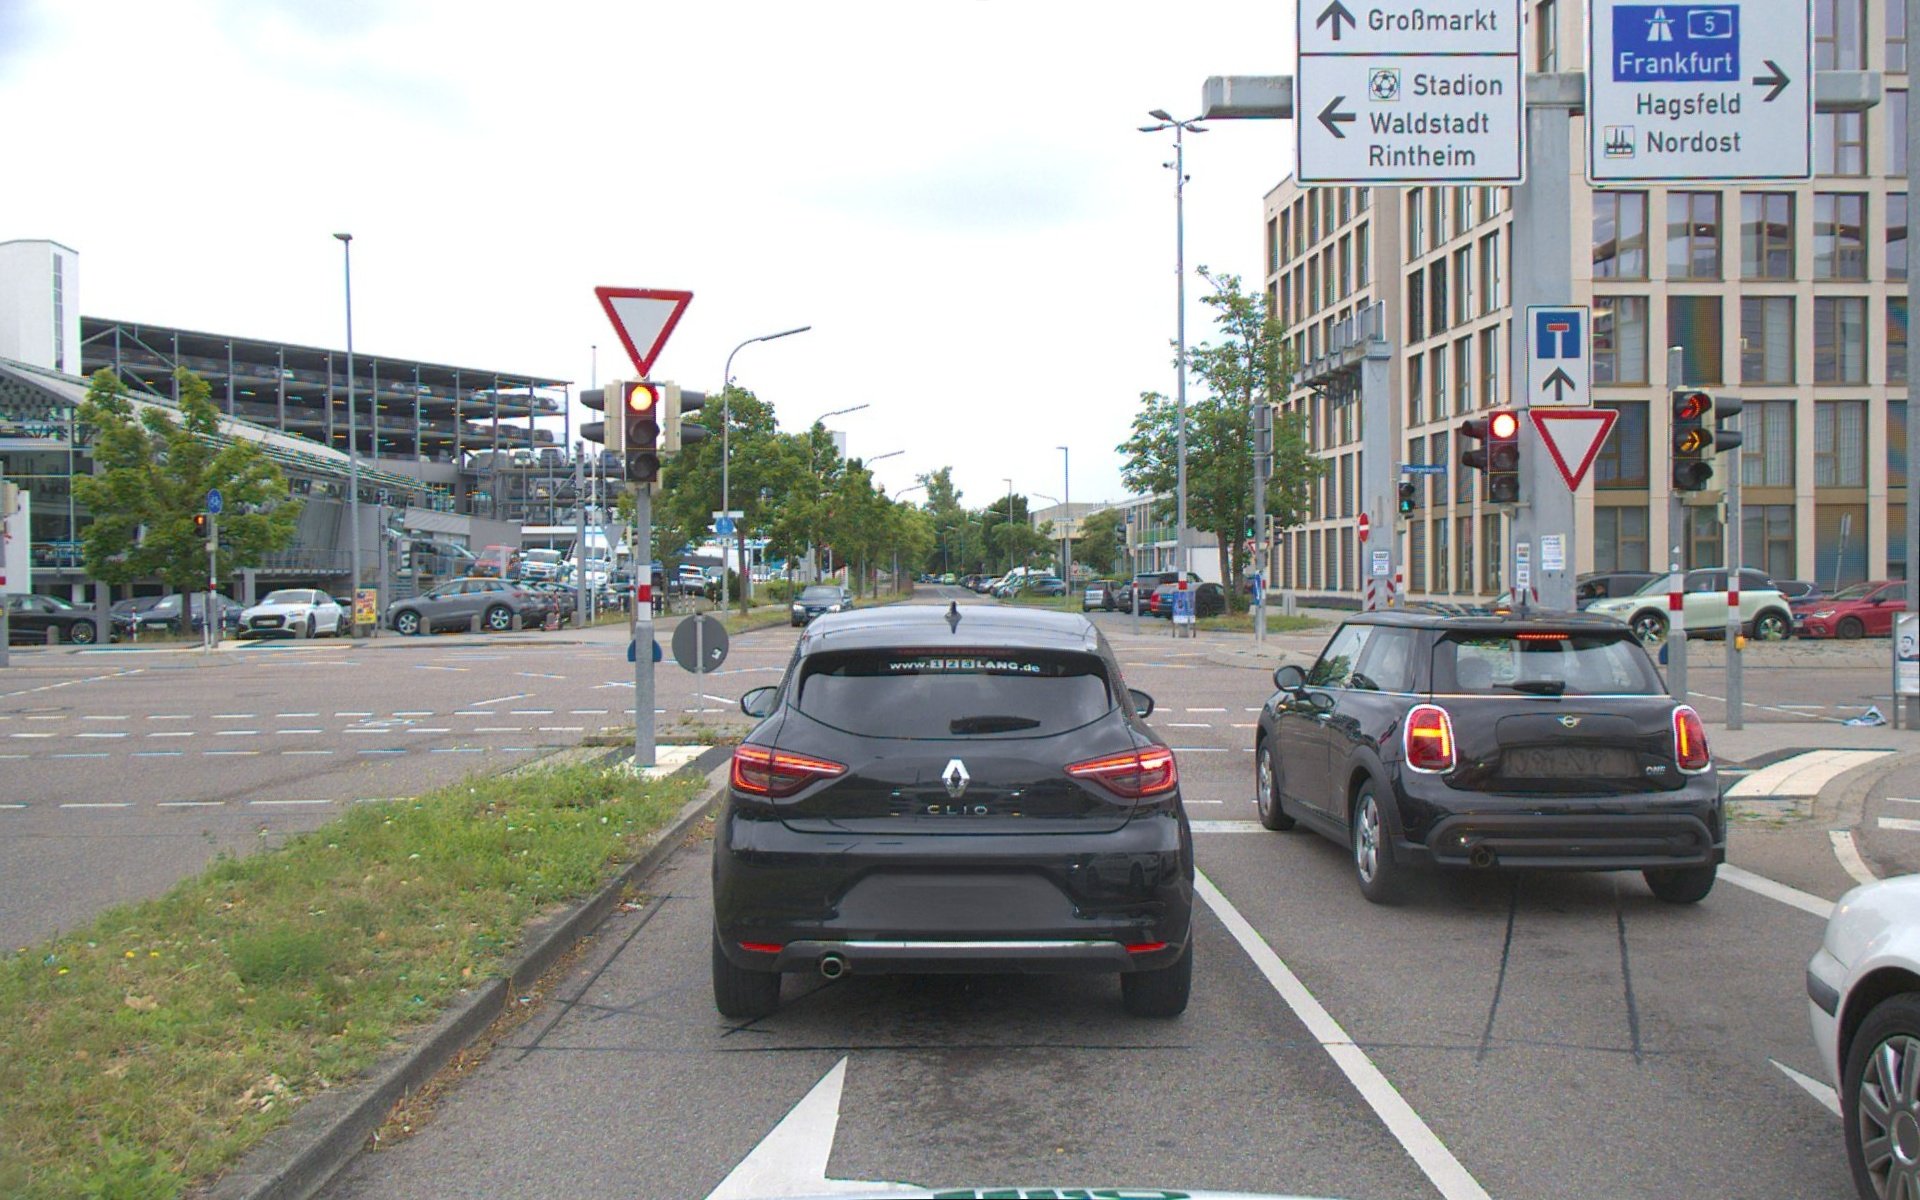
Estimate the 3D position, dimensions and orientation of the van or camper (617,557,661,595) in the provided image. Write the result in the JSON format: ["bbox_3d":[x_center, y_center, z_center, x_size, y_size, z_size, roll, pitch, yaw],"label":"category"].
[{"bbox_3d":[-18.280,-1.348,94.404,1.954,2.049,3.996,1,0,-4],"label":"van or camper"}]

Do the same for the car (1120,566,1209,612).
[{"bbox_3d":[9.216,-0.490,74.381,1.963,2.000,4.221,-1,0,41],"label":"car"}]

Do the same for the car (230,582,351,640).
[{"bbox_3d":[-18.586,0.339,46.096,1.832,1.512,4.226,-1,-1,-4],"label":"car"}]

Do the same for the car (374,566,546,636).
[{"bbox_3d":[-15.271,0.036,50.742,4.680,1.895,1.998,-2,0,-6],"label":"car"}]

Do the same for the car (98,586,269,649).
[{"bbox_3d":[-25.792,0.554,55.078,4.706,1.973,1.999,-1,1,-4],"label":"car"}]

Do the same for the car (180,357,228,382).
[{"bbox_3d":[-66.135,-20.137,144.656,3.914,1.696,1.996,1,1,31],"label":"car"}]

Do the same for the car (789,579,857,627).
[{"bbox_3d":[-4.729,0.075,57.600,1.938,1.578,4.614,0,1,0],"label":"car"}]

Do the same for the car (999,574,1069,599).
[{"bbox_3d":[5.543,-1.003,123.821,5.070,1.750,2.142,1,0,-3],"label":"car"}]

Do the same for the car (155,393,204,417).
[{"bbox_3d":[-67.165,-16.782,142.364,3.914,1.696,1.996,1,1,31],"label":"car"}]

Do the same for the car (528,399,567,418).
[{"bbox_3d":[-45.219,-20.926,181.185,3.914,1.696,1.996,1,1,31],"label":"car"}]

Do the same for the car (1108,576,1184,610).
[{"bbox_3d":[8.784,-0.318,77.777,1.667,1.537,3.794,-1,0,42],"label":"car"}]

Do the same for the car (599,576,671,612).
[{"bbox_3d":[-19.358,-0.352,98.622,3.908,2.049,1.999,1,0,-4],"label":"car"}]

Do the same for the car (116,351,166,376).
[{"bbox_3d":[-69.289,-19.995,139.949,3.914,1.696,1.996,1,1,31],"label":"car"}]

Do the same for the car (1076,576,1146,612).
[{"bbox_3d":[7.673,-0.297,84.072,3.405,1.762,1.739,1,-1,-43],"label":"car"}]

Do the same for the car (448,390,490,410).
[{"bbox_3d":[-50.911,-20.685,171.485,3.914,1.696,1.996,1,1,31],"label":"car"}]

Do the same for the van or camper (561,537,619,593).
[{"bbox_3d":[-21.068,-1.951,94.372,2.486,3.079,4.839,1,0,-4],"label":"van or camper"}]

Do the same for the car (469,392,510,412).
[{"bbox_3d":[-49.433,-20.814,173.714,3.914,1.696,1.996,1,1,31],"label":"car"}]

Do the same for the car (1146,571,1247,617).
[{"bbox_3d":[9.571,-0.234,66.798,4.096,1.799,1.861,0,0,-41],"label":"car"}]

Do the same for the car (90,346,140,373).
[{"bbox_3d":[-70.366,-20.024,137.757,3.914,1.696,1.996,1,1,31],"label":"car"}]

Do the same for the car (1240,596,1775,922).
[{"bbox_3d":[2.778,0.724,9.270,1.749,1.440,3.642,1,0,-1],"label":"car"}]

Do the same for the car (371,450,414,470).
[{"bbox_3d":[-55.723,-13.766,162.388,3.914,1.696,1.996,1,1,31],"label":"car"}]

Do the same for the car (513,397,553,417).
[{"bbox_3d":[-46.286,-20.904,179.225,3.914,1.696,1.996,1,1,31],"label":"car"}]

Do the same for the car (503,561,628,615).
[{"bbox_3d":[-16.615,-0.499,69.789,4.798,2.049,1.998,-2,0,-6],"label":"car"}]

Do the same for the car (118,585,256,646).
[{"bbox_3d":[-21.338,0.469,45.864,2.023,1.512,4.510,-2,-2,-6],"label":"car"}]

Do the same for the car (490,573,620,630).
[{"bbox_3d":[-16.350,0.055,66.960,4.798,2.049,1.998,-2,0,-6],"label":"car"}]

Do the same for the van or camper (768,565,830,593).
[{"bbox_3d":[-14.683,-1.884,151.141,5.486,2.413,1.999,1,0,-2],"label":"van or camper"}]

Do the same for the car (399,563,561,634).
[{"bbox_3d":[-15.410,-0.035,53.309,4.610,2.049,1.998,-2,0,-5],"label":"car"}]

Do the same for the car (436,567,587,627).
[{"bbox_3d":[-15.925,-0.094,58.938,4.853,1.909,2.051,-2,0,-7],"label":"car"}]

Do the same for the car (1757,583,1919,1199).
[{"bbox_3d":[3.039,0.725,2.389,1.795,1.504,4.004,1,0,-1],"label":"car"}]

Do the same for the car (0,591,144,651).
[{"bbox_3d":[-25.315,0.597,45.615,4.646,1.512,1.891,-1,-2,-4],"label":"car"}]

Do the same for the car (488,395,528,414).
[{"bbox_3d":[-48.078,-20.778,175.844,3.914,1.696,1.996,1,1,31],"label":"car"}]

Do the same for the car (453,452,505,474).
[{"bbox_3d":[-50.637,-14.409,174.141,5.212,1.979,2.208,1,1,28],"label":"car"}]

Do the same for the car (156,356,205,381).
[{"bbox_3d":[-67.145,-19.947,142.460,3.914,1.696,1.996,1,1,31],"label":"car"}]

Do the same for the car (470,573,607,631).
[{"bbox_3d":[-16.311,0.075,64.241,4.798,2.049,1.998,-2,0,-6],"label":"car"}]

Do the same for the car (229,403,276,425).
[{"bbox_3d":[-63.544,-16.697,148.595,3.914,1.696,1.996,1,1,31],"label":"car"}]

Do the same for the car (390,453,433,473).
[{"bbox_3d":[-54.654,-13.661,164.837,3.914,1.696,1.996,1,1,31],"label":"car"}]

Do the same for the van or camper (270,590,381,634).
[{"bbox_3d":[-26.394,0.480,68.858,3.909,1.741,1.845,1,0,-5],"label":"van or camper"}]

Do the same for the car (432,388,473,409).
[{"bbox_3d":[-52.026,-20.630,169.491,3.914,1.696,1.996,1,1,31],"label":"car"}]

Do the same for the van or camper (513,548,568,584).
[{"bbox_3d":[-21.021,-1.696,83.012,1.954,1.680,3.996,1,0,-4],"label":"van or camper"}]

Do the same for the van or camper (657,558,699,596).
[{"bbox_3d":[-16.127,-1.310,94.628,1.954,2.049,3.996,1,0,-4],"label":"van or camper"}]

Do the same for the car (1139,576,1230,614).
[{"bbox_3d":[9.673,-0.205,71.187,1.857,1.578,4.105,-1,0,44],"label":"car"}]

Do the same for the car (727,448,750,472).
[{"bbox_3d":[-21.179,-13.369,158.561,1.955,1.915,3.996,-1,0,-5],"label":"car"}]

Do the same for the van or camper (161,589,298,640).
[{"bbox_3d":[-25.585,0.515,58.021,3.909,1.707,1.998,1,0,-5],"label":"van or camper"}]

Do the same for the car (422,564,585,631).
[{"bbox_3d":[-15.474,-0.086,56.316,4.925,2.049,2.263,-2,0,-5],"label":"car"}]
